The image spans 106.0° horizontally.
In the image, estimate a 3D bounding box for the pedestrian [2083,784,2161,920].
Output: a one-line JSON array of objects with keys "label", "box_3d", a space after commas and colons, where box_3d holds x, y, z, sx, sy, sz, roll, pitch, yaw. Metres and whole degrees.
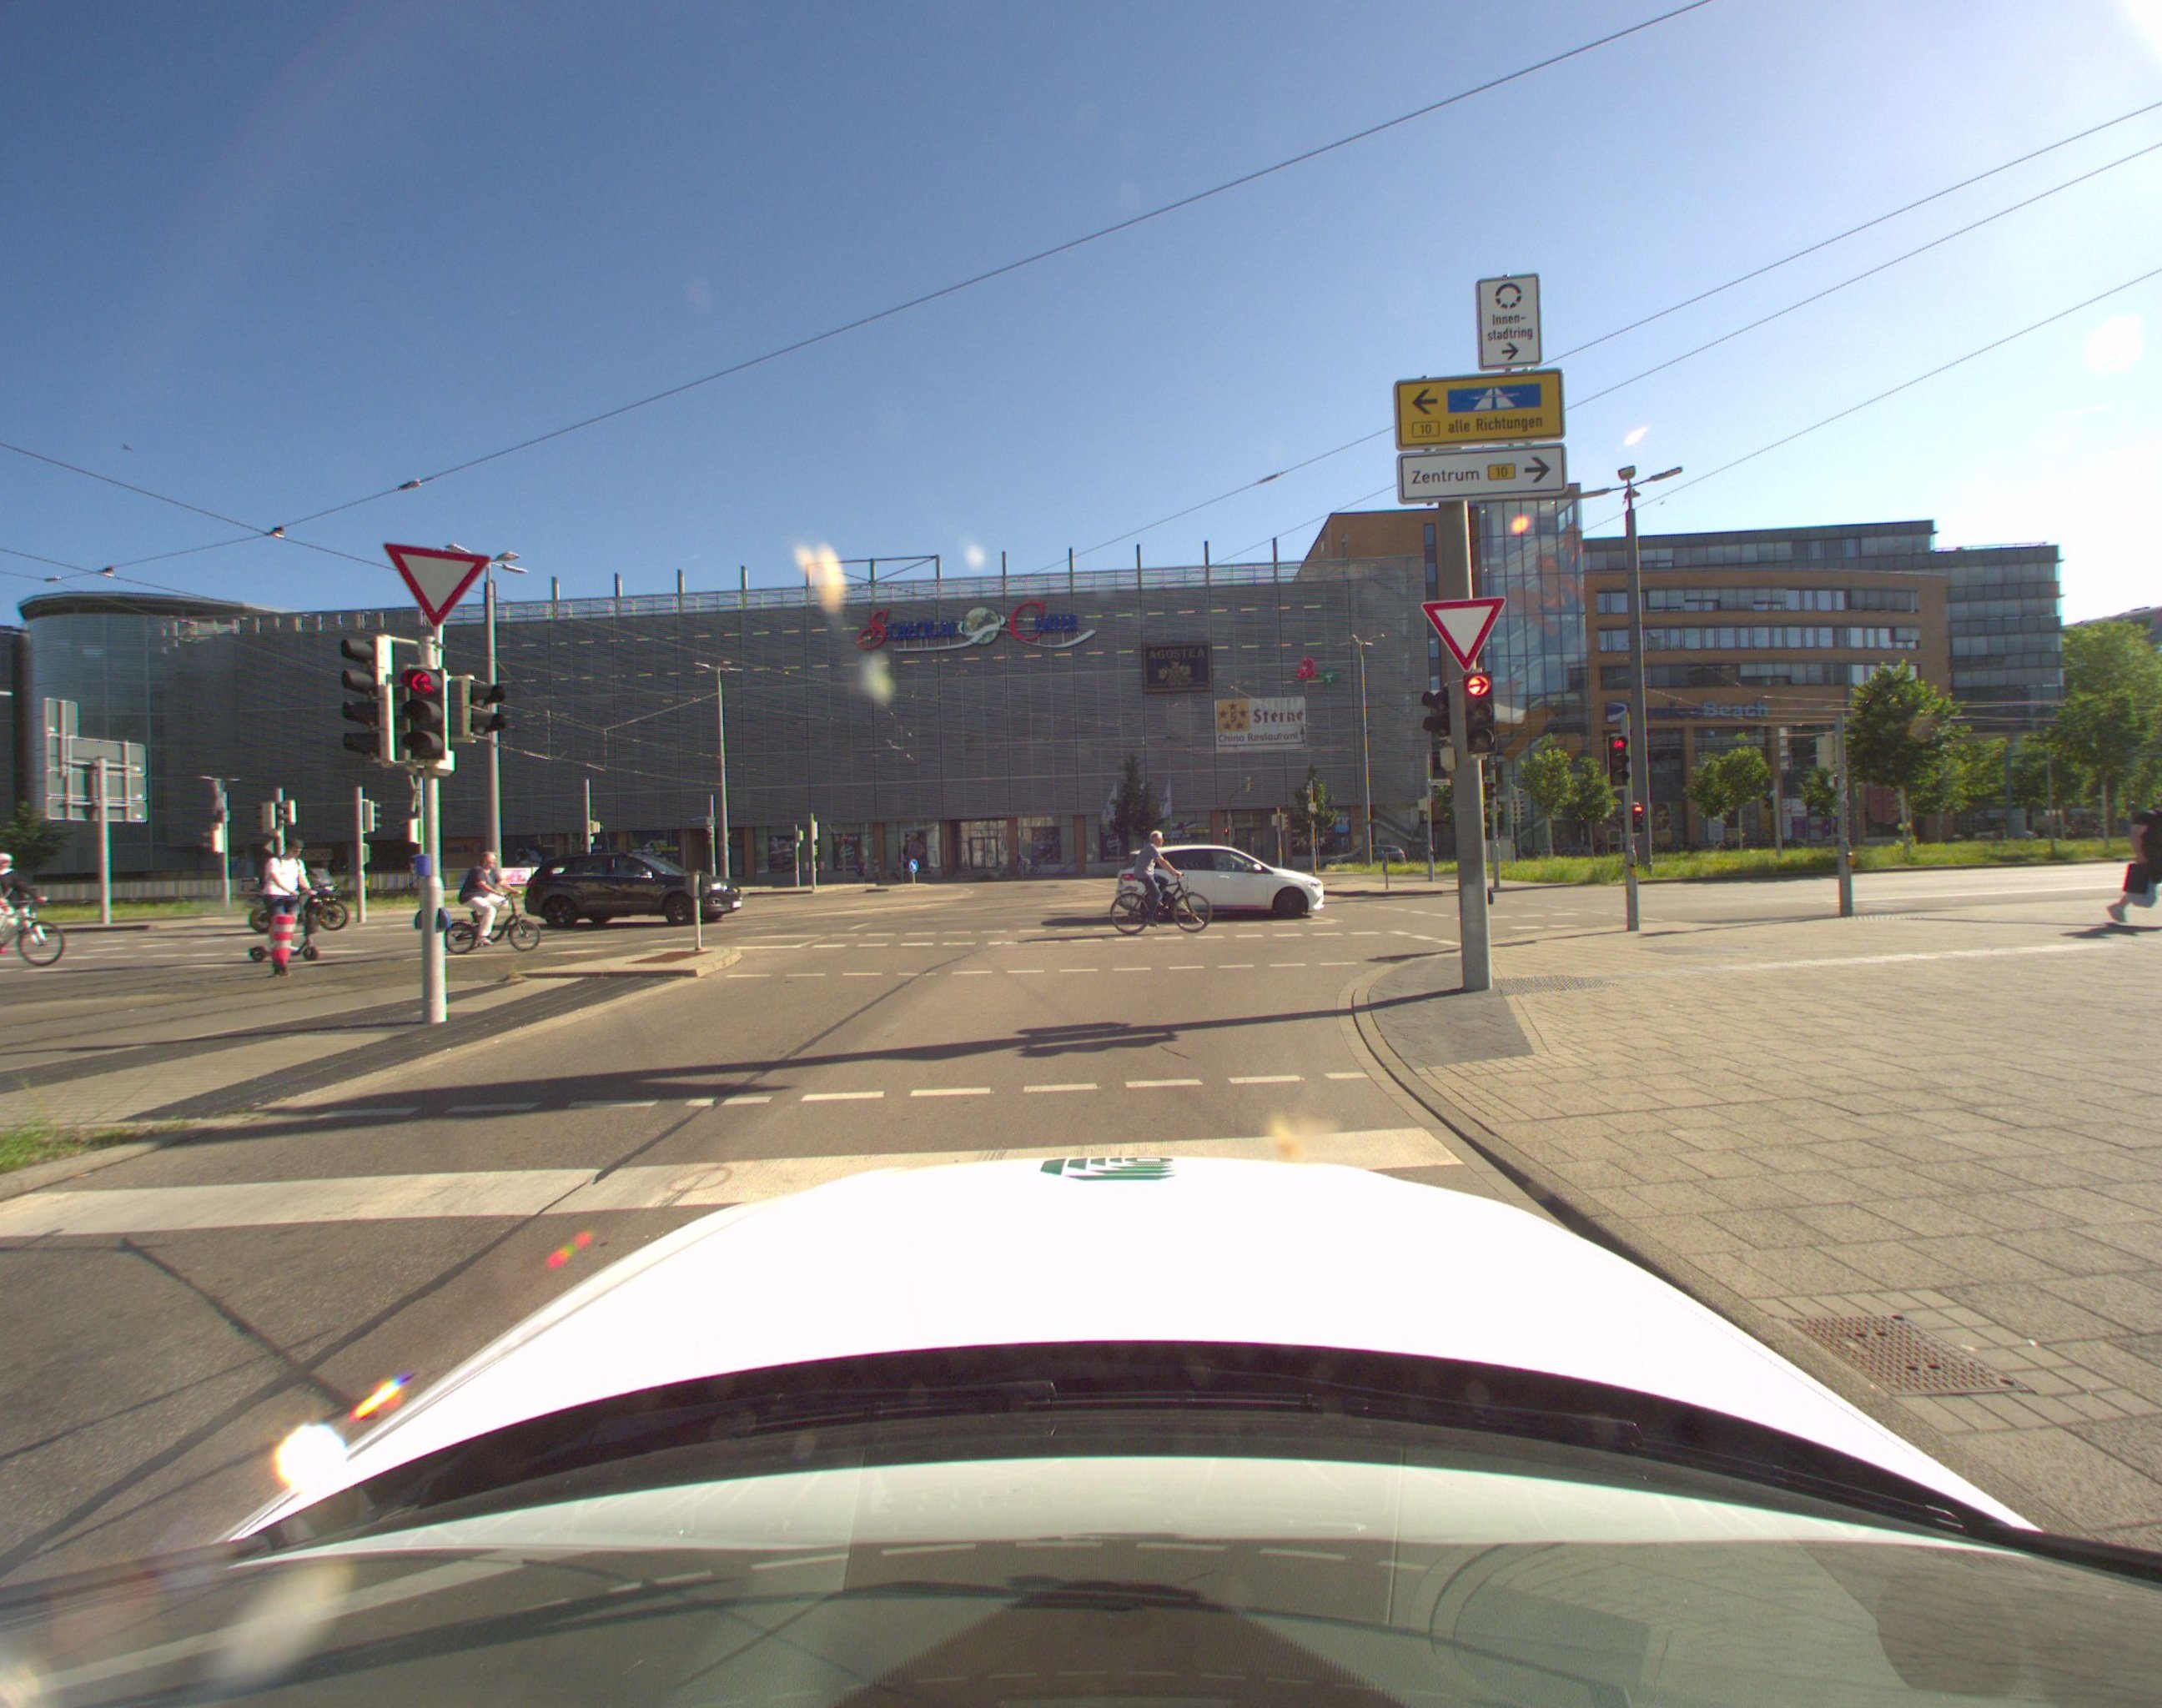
[{"label": "pedestrian", "box_3d": [13.964, -0.038, 10.618, 0.803, 1.708, 0.762, -2, 0, 1]}]

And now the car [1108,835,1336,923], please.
[{"label": "car", "box_3d": [2.901, 0.487, 17.387, 4.479, 1.635, 1.837, -2, 1, -3]}]

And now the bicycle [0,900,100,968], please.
[{"label": "bicycle", "box_3d": [-17.319, 1.293, 13.202, 1.920, 1.036, 0.694, -1, 0, -2]}]

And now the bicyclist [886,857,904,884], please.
[{"label": "bicyclist", "box_3d": [-12.617, 1.127, 55.326, 0.849, 1.803, 0.806, -1, -1, -40]}]

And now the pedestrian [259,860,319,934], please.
[{"label": "pedestrian", "box_3d": [-18.301, 0.978, 18.827, 0.741, 1.677, 0.665, -1, 0, 1]}]

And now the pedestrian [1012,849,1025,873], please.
[{"label": "pedestrian", "box_3d": [-4.601, 0.537, 60.295, 0.845, 1.763, 0.620, -2, 0, 1]}]

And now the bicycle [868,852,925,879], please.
[{"label": "bicycle", "box_3d": [-14.071, 0.885, 62.315, 3.971, 2.013, 1.331, -1, 0, 2]}]

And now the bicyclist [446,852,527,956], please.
[{"label": "bicyclist", "box_3d": [-9.780, 0.803, 13.420, 0.780, 1.648, 0.690, -2, 0, -1]}]

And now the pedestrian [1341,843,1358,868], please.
[{"label": "pedestrian", "box_3d": [19.062, 0.082, 57.882, 0.852, 1.738, 0.752, -2, -1, -5]}]

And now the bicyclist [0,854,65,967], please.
[{"label": "bicyclist", "box_3d": [-17.385, 0.906, 13.226, 0.761, 1.789, 0.762, -2, 0, -2]}]

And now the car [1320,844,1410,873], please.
[{"label": "car", "box_3d": [15.900, 0.259, 45.713, 4.470, 1.495, 1.495, -2, 0, 1]}]

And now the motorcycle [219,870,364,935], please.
[{"label": "motorcycle", "box_3d": [-18.272, 1.112, 18.888, 2.435, 1.419, 0.915, -1, 0, 0]}]

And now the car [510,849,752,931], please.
[{"label": "car", "box_3d": [-10.518, 0.804, 19.325, 4.624, 1.718, 1.837, -1, 1, -3]}]

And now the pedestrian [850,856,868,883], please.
[{"label": "pedestrian", "box_3d": [-15.235, 1.070, 55.878, 0.894, 1.868, 0.826, -2, -1, 44]}]

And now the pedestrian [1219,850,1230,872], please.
[{"label": "pedestrian", "box_3d": [9.789, 0.498, 55.653, 0.587, 1.462, 0.658, -2, 0, 1]}]

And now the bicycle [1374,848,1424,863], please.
[{"label": "bicycle", "box_3d": [23.841, 0.136, 61.060, 3.342, 1.077, 1.119, -1, 0, 7]}]

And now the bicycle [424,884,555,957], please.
[{"label": "bicycle", "box_3d": [-9.721, 1.079, 13.423, 1.571, 1.107, 0.734, -2, 0, -1]}]

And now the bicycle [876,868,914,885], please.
[{"label": "bicycle", "box_3d": [-12.643, 1.503, 55.268, 2.256, 1.070, 1.034, -2, 0, -39]}]

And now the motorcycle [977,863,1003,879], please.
[{"label": "motorcycle", "box_3d": [-6.308, 1.165, 56.456, 1.641, 1.059, 0.499, -2, 0, 11]}]

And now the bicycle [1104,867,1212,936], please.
[{"label": "bicycle", "box_3d": [1.341, 0.819, 14.401, 1.822, 1.116, 0.854, -2, 0, 2]}]

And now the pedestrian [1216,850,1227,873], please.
[{"label": "pedestrian", "box_3d": [9.423, 0.488, 54.778, 0.587, 1.535, 0.658, -2, 0, 1]}]

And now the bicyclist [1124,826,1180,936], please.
[{"label": "bicyclist", "box_3d": [1.244, 0.460, 14.427, 0.898, 1.859, 0.855, -2, 0, 2]}]

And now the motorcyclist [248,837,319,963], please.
[{"label": "motorcyclist", "box_3d": [-13.035, 0.737, 13.318, 0.625, 2.013, 0.498, -2, 0, 2]}]

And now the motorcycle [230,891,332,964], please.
[{"label": "motorcycle", "box_3d": [-13.069, 1.188, 13.316, 1.182, 1.121, 0.483, -2, 0, 1]}]

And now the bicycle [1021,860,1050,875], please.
[{"label": "bicycle", "box_3d": [-3.418, 0.998, 60.931, 2.019, 1.059, 1.145, -2, 0, 1]}]
